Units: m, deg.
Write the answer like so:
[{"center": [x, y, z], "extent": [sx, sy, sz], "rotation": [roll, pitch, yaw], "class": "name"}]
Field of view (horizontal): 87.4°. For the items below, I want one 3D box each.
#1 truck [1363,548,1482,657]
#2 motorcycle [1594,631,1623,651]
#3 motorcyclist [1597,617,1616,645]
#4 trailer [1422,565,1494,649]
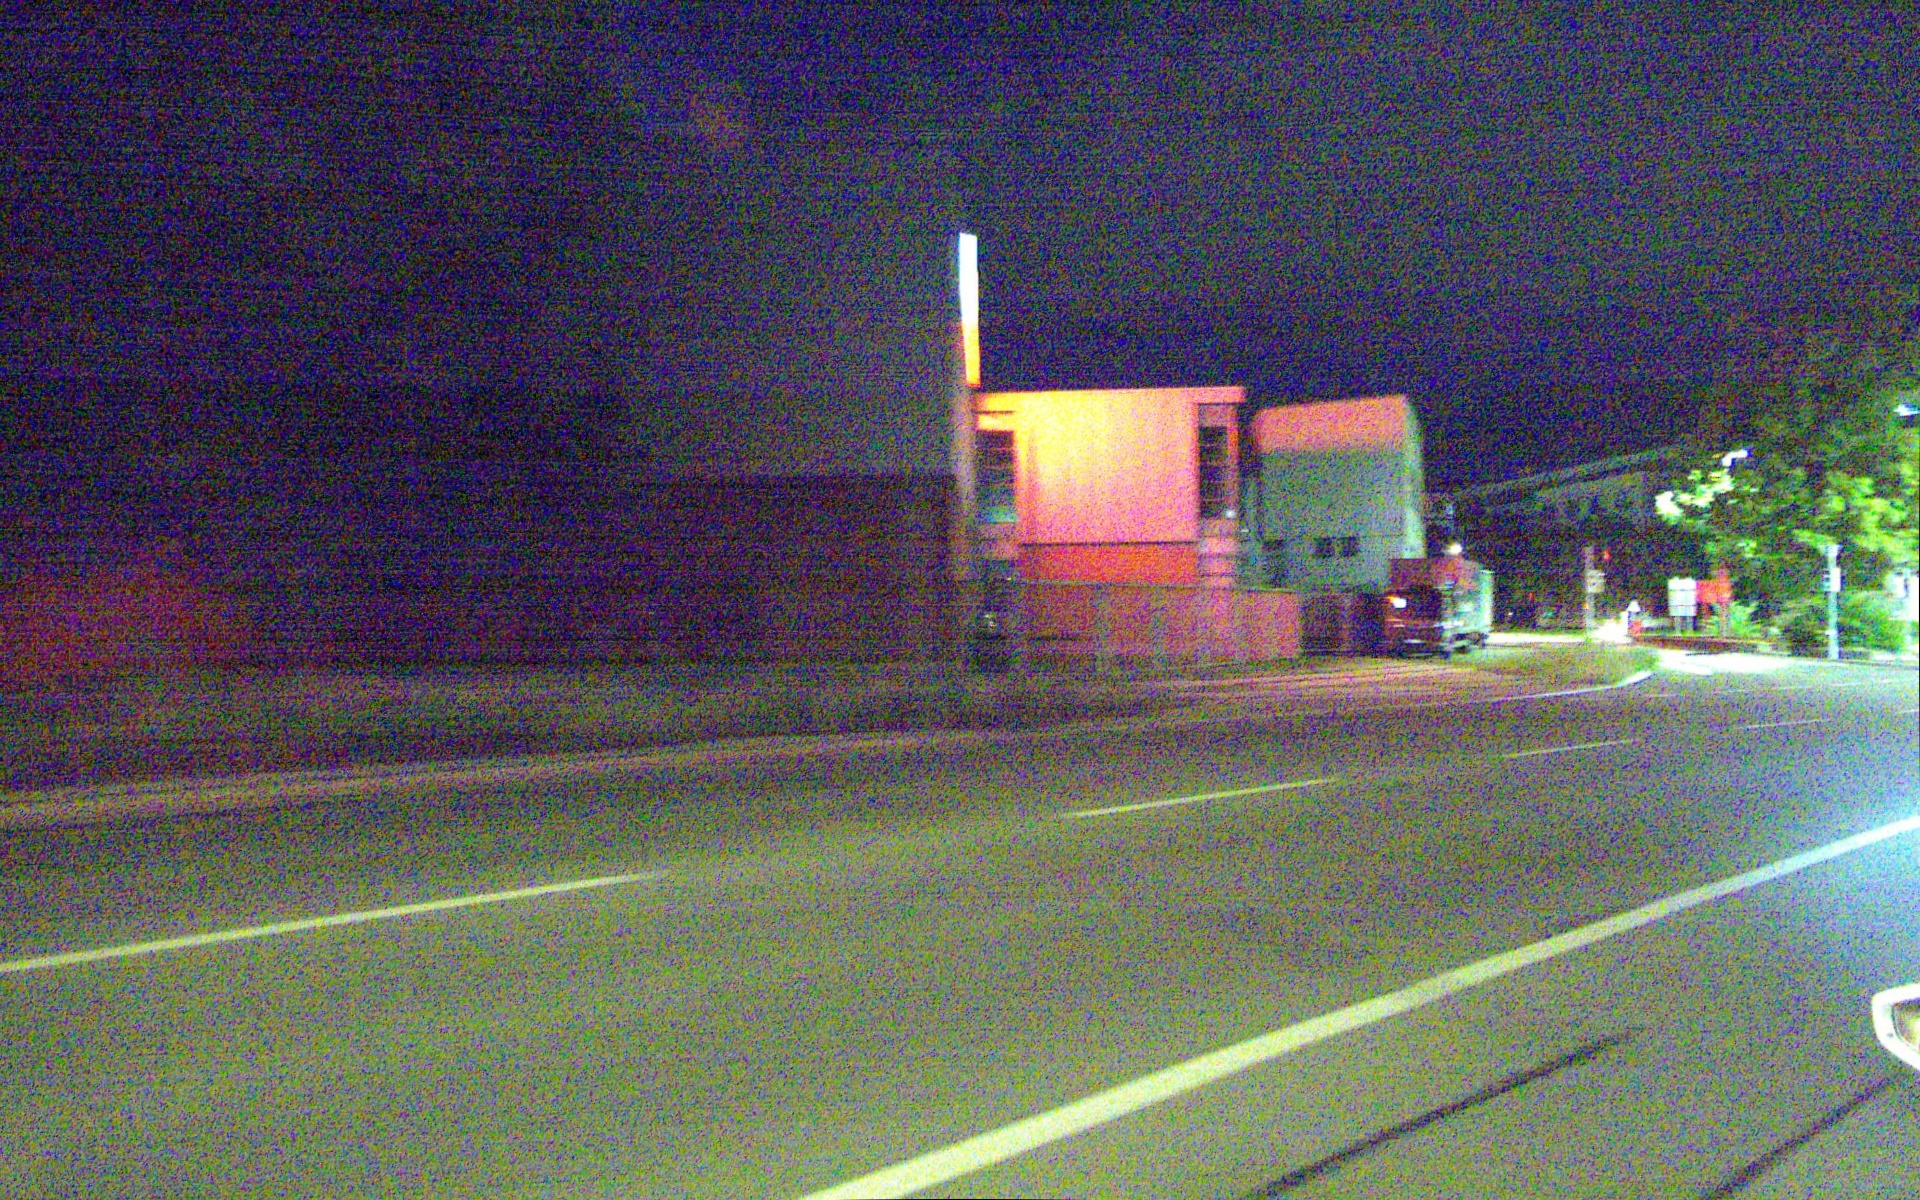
[{"center": [18.715, 0.199, 40.240], "extent": [2.898, 3.846, 9.531], "rotation": [1, -1, 33], "class": "truck"}, {"center": [30.516, 1.903, 47.279], "extent": [0.568, 0.907, 2.156], "rotation": [-2, -2, 18], "class": "motorcycle"}, {"center": [30.350, 1.448, 47.153], "extent": [0.635, 1.278, 0.579], "rotation": [1, -1, 18], "class": "motorcyclist"}, {"center": [24.557, 0.381, 49.405], "extent": [2.576, 3.841, 6.499], "rotation": [1, -1, 32], "class": "trailer"}]
